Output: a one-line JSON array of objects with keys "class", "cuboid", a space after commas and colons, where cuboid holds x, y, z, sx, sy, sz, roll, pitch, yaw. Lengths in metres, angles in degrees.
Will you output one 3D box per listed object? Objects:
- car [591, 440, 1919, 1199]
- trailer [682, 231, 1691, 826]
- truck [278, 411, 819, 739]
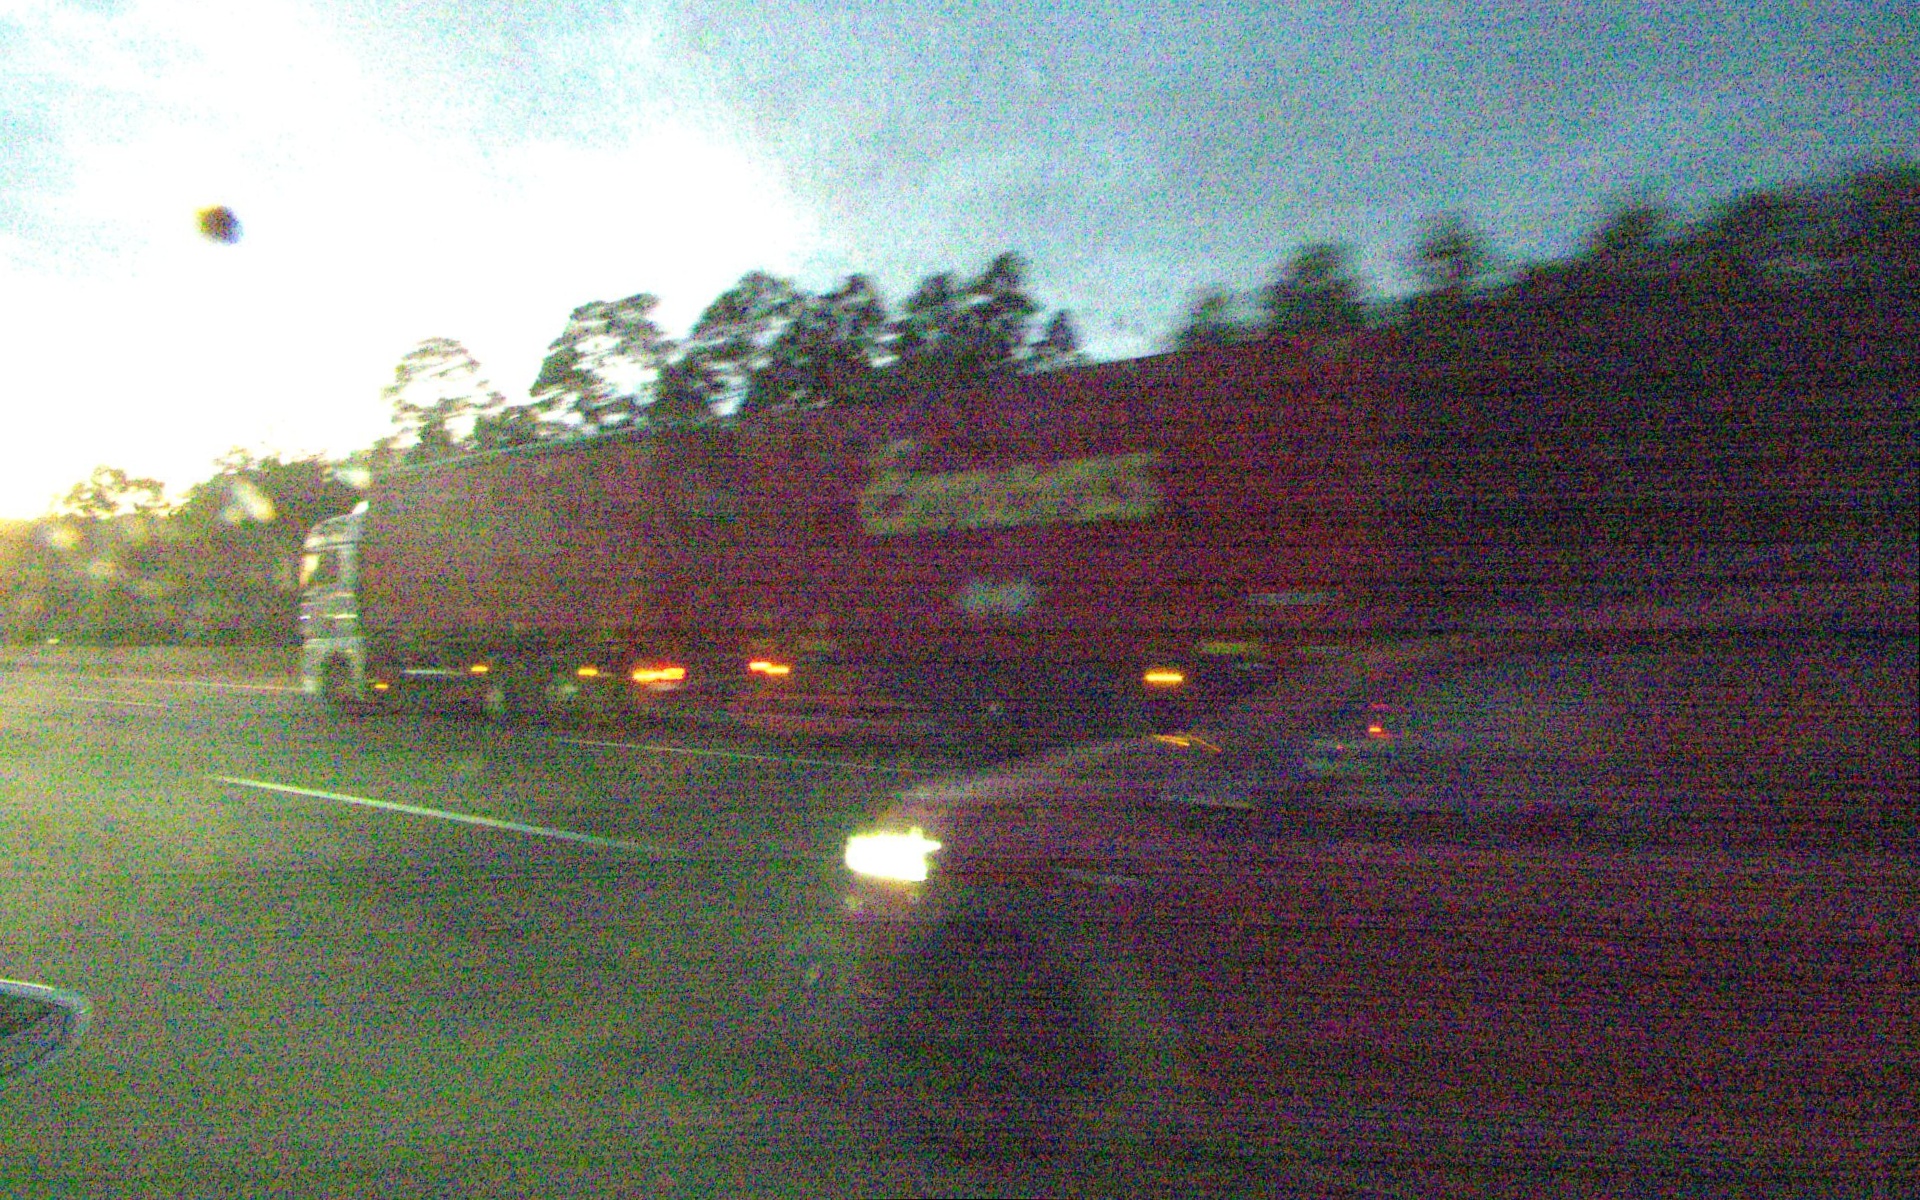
[{"class": "car", "cuboid": [1.367, 0.678, 2.894, 4.981, 1.662, 1.901, -3, -6, 32]}, {"class": "trailer", "cuboid": [1.574, -0.389, 11.000, 10.212, 4.154, 2.901, -1, -1, 33]}, {"class": "truck", "cuboid": [-7.375, -0.200, 16.830, 10.679, 4.154, 2.879, -1, -1, 33]}]
